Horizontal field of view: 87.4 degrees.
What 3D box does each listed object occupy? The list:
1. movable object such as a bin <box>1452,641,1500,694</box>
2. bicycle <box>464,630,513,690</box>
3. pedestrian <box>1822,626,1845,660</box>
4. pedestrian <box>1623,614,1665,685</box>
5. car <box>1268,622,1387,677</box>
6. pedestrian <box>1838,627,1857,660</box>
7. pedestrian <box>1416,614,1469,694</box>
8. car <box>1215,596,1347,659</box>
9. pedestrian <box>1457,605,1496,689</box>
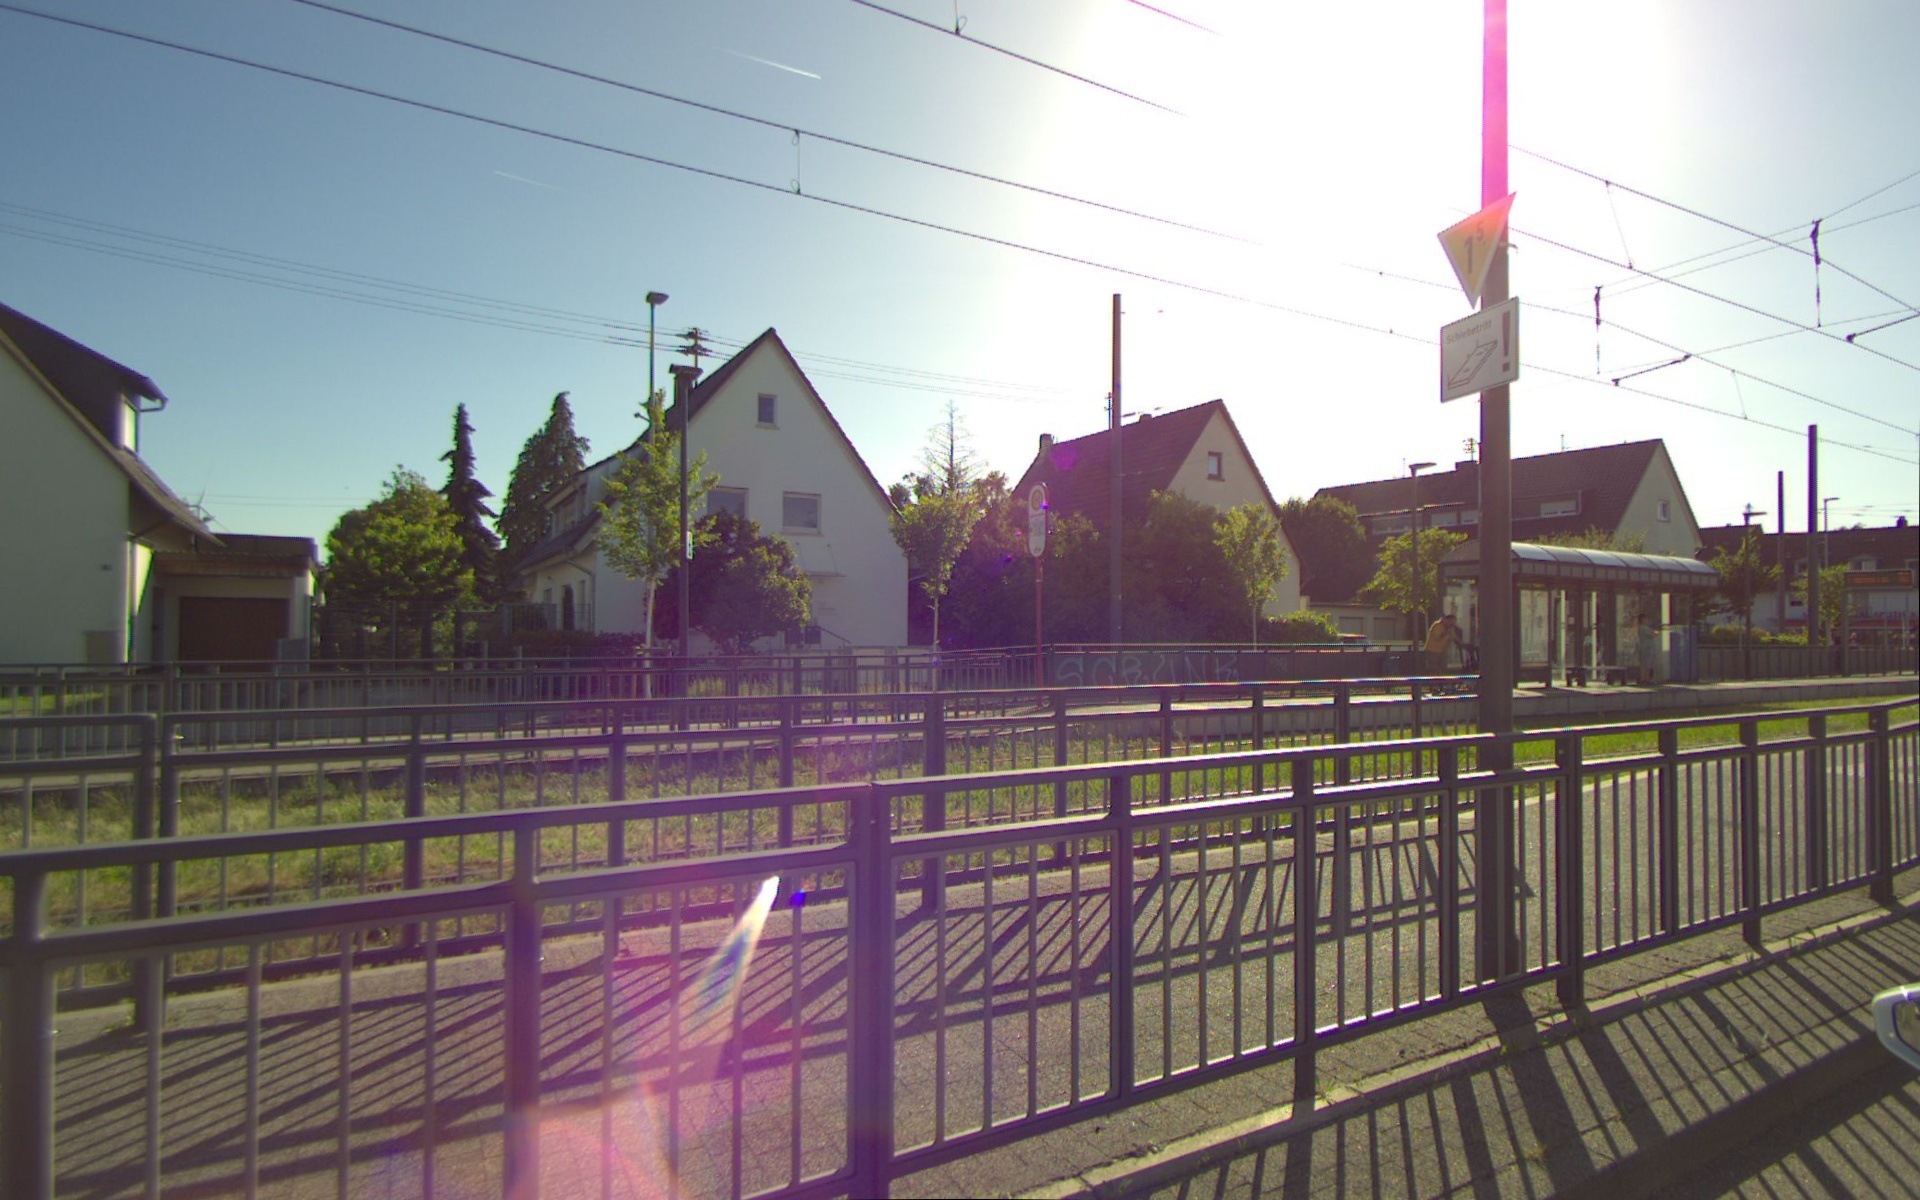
[{"bbox_3d":[10.029,1.304,19.508,0.734,1.001,0.543,1,-2,-34],"label":"movable object such as a bin"},{"bbox_3d":[-11.373,1.417,24.192,0.698,1.383,1.975,2,-2,-36],"label":"bicycle"},{"bbox_3d":[47.364,2.320,54.457,0.763,1.785,0.725,1,-2,-32],"label":"pedestrian"},{"bbox_3d":[16.792,1.224,24.660,0.762,1.718,0.498,1,-4,-29],"label":"pedestrian"},{"bbox_3d":[13.629,1.786,37.393,1.783,1.830,3.816,2,-1,-37],"label":"car"},{"bbox_3d":[48.453,2.371,54.836,0.682,1.755,0.590,1,-2,-32],"label":"pedestrian"},{"bbox_3d":[9.605,1.069,20.005,0.741,1.556,0.671,1,-2,-34],"label":"pedestrian"},{"bbox_3d":[11.008,0.915,34.625,1.915,1.996,3.958,2,-1,-37],"label":"car"},{"bbox_3d":[10.749,0.969,20.910,0.575,1.731,0.516,1,-1,-34],"label":"pedestrian"}]
